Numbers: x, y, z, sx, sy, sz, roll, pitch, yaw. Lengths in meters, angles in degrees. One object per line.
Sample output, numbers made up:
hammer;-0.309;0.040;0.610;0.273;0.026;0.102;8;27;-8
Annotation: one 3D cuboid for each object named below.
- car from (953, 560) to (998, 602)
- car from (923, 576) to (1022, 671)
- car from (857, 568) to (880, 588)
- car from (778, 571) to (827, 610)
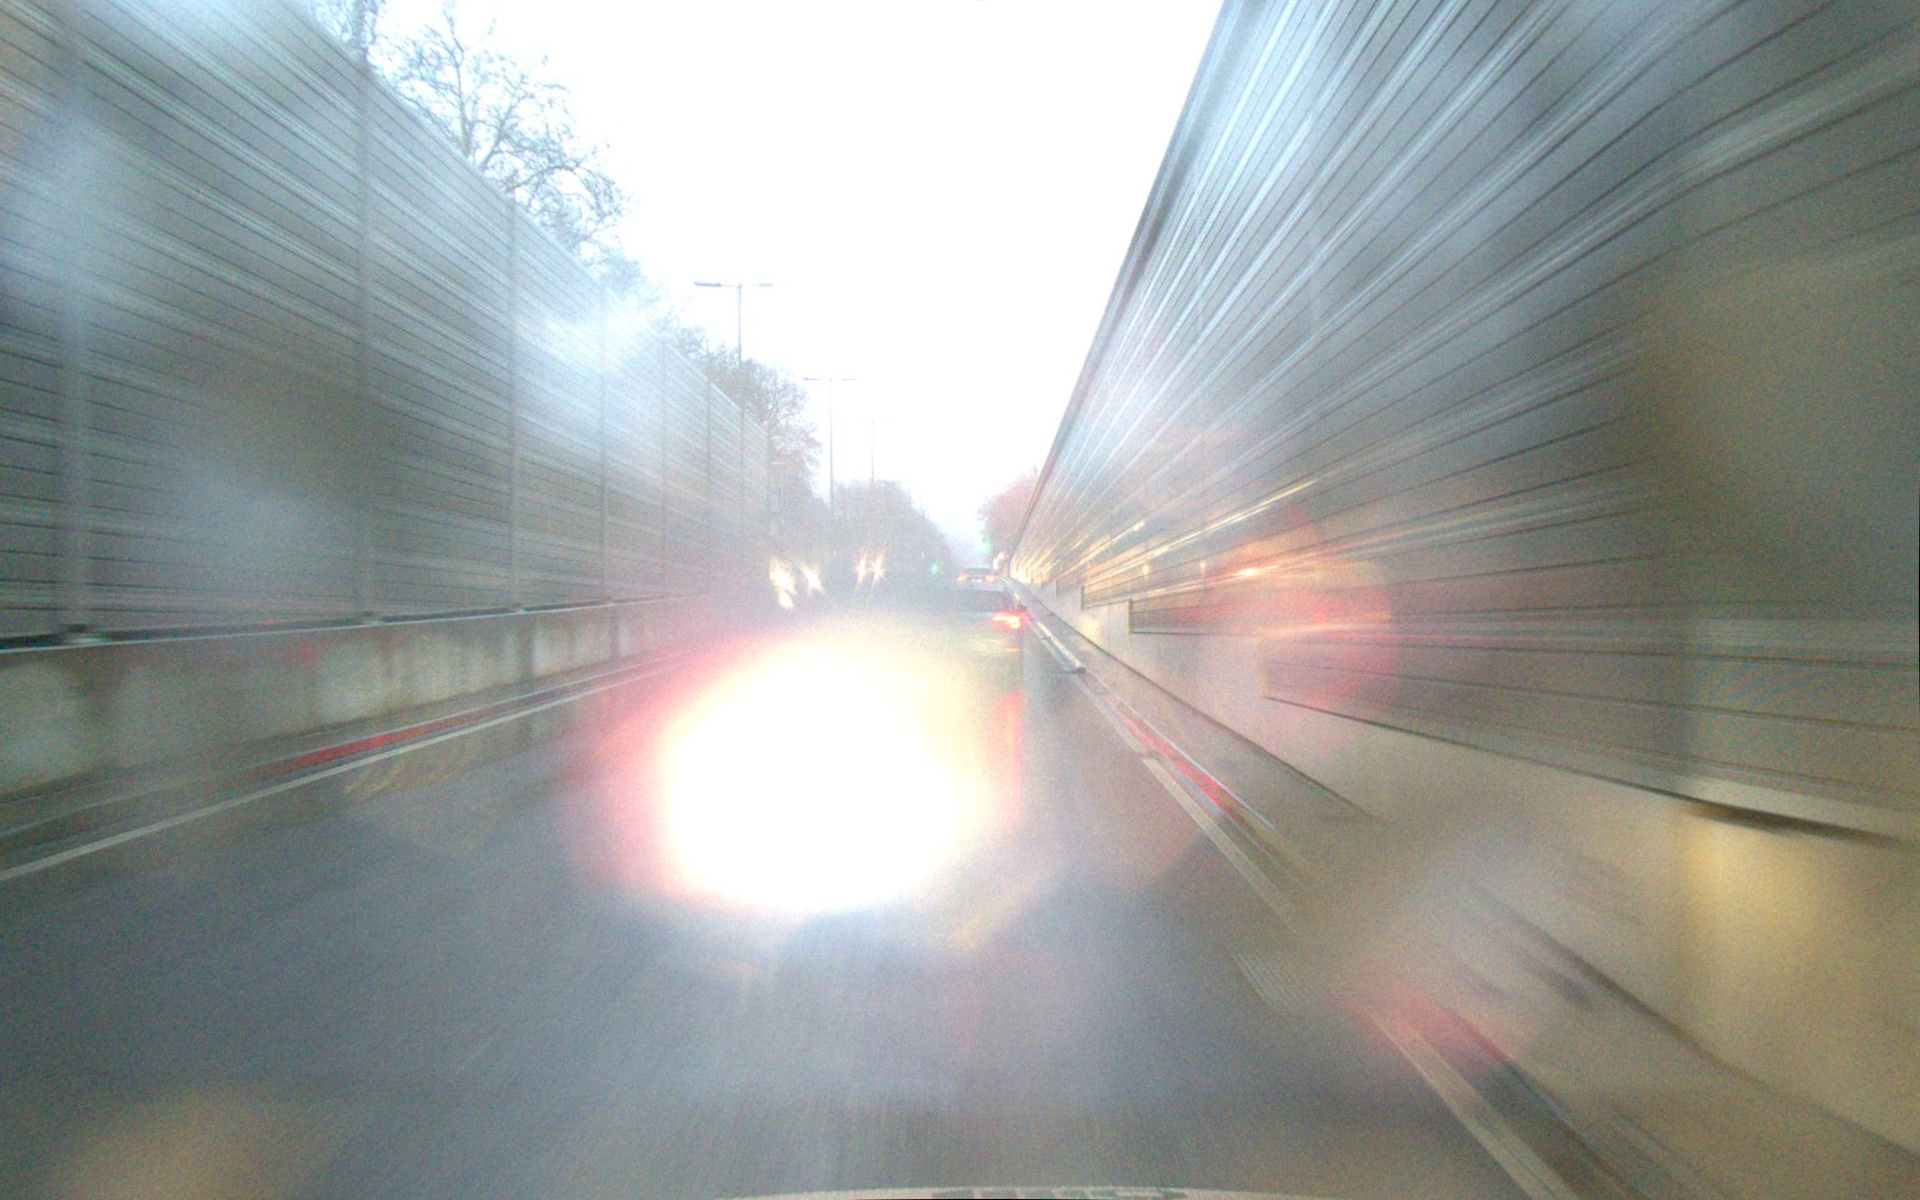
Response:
car;0.651;-0.826;74.123;1.842;1.649;3.998;2;-2;-1
car;0.212;0.379;27.481;1.500;1.422;3.434;2;0;1
car;-7.170;-1.705;129.592;1.539;1.496;3.687;0;2;0
car;-7.410;-0.421;78.105;1.841;1.649;4.000;2;-2;1
